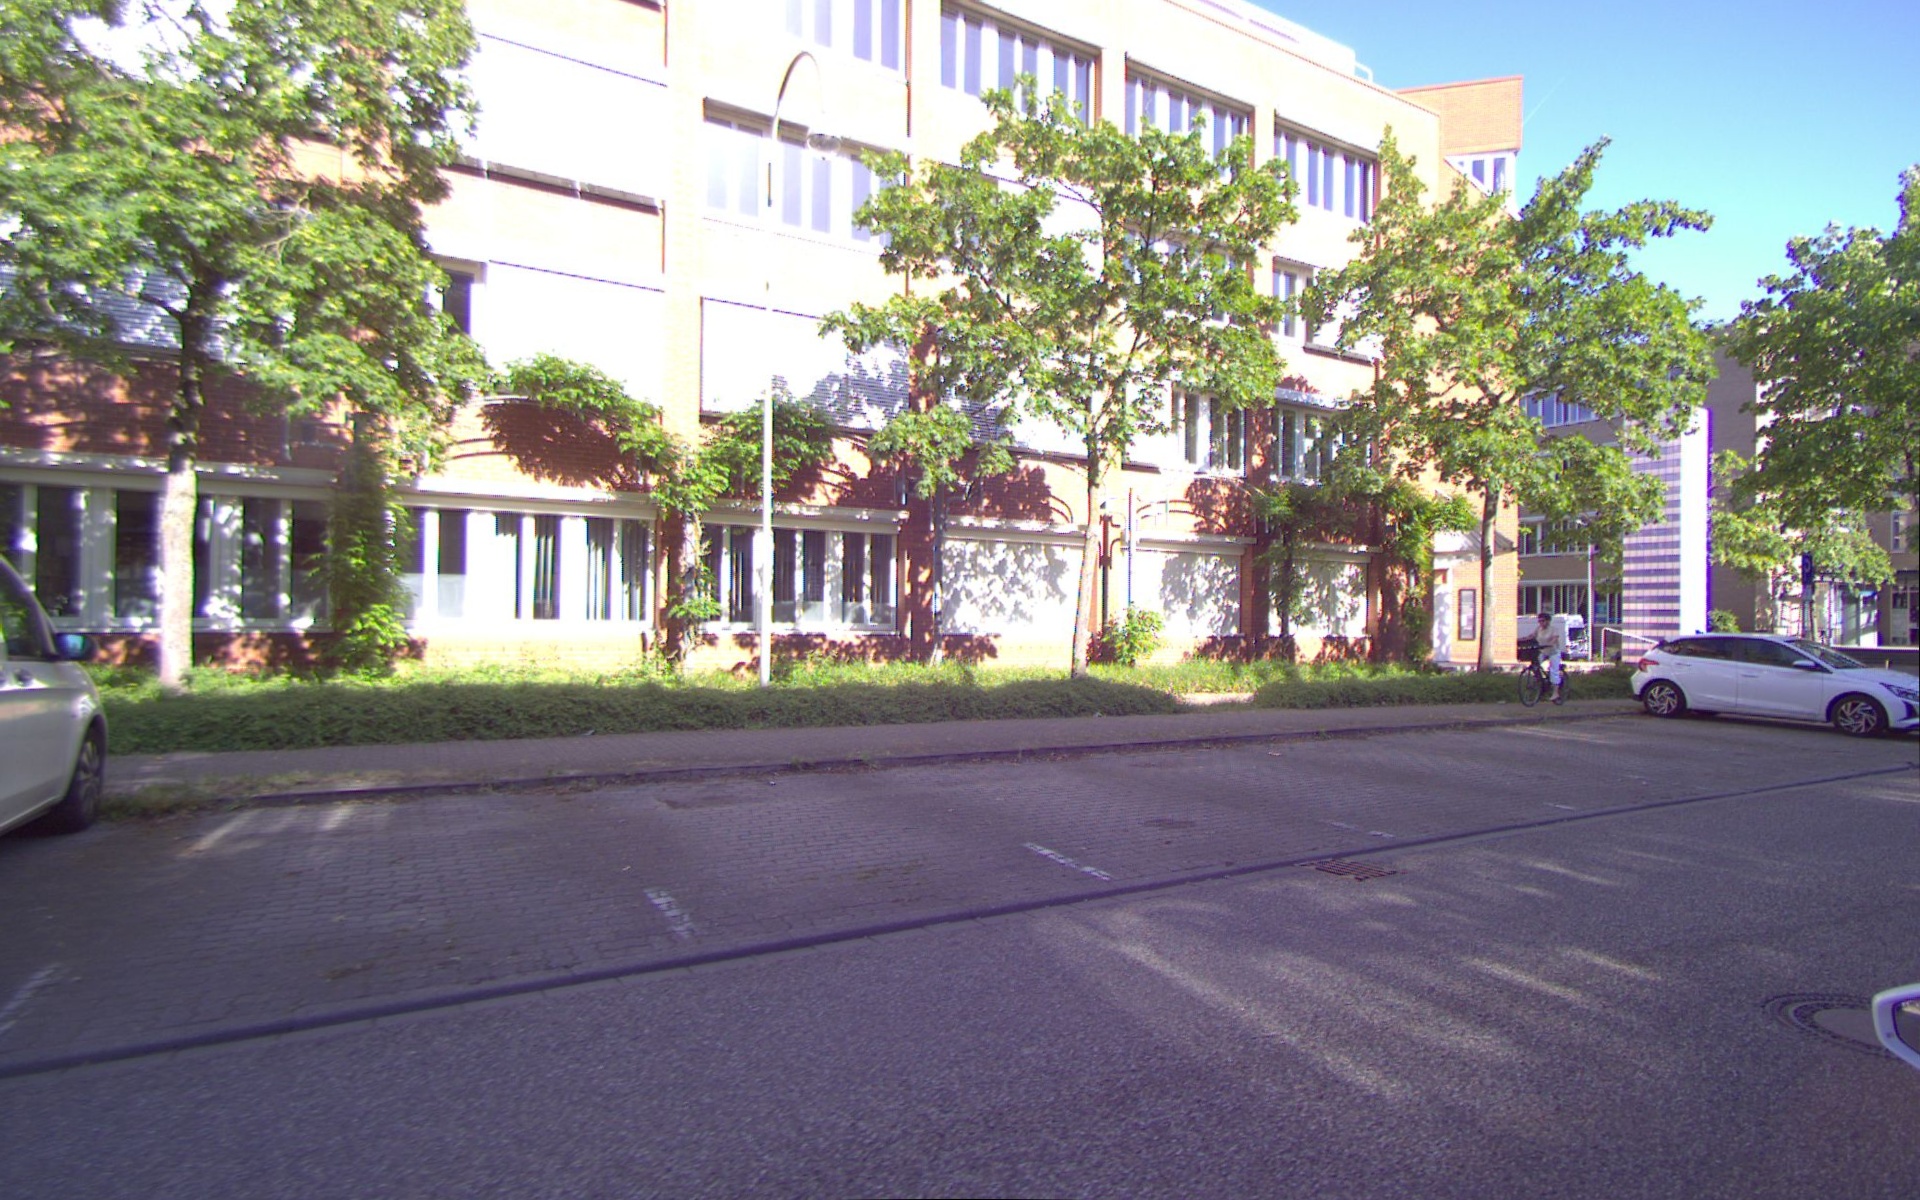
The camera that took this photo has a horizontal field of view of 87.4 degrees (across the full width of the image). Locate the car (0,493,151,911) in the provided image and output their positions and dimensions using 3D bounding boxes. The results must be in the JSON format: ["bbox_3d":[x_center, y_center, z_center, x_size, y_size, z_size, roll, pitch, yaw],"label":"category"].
[{"bbox_3d":[-5.482,0.470,4.468,1.918,1.993,5.237,1,0,-28],"label":"car"}]

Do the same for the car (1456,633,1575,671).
[{"bbox_3d":[24.230,2.272,43.975,1.976,1.496,4.174,5,-5,-29],"label":"car"}]

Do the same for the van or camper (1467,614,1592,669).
[{"bbox_3d":[29.555,2.109,52.329,2.155,2.710,5.344,0,-1,-30],"label":"van or camper"}]

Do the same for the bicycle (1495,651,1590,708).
[{"bbox_3d":[10.743,1.448,18.514,1.839,0.994,0.603,1,-1,-26],"label":"bicycle"}]

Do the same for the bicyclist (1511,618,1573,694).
[{"bbox_3d":[10.724,1.022,18.513,0.901,1.371,0.603,1,-1,-26],"label":"bicyclist"}]

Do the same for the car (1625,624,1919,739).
[{"bbox_3d":[13.197,1.190,16.013,1.786,1.506,3.967,1,-1,-30],"label":"car"}]
